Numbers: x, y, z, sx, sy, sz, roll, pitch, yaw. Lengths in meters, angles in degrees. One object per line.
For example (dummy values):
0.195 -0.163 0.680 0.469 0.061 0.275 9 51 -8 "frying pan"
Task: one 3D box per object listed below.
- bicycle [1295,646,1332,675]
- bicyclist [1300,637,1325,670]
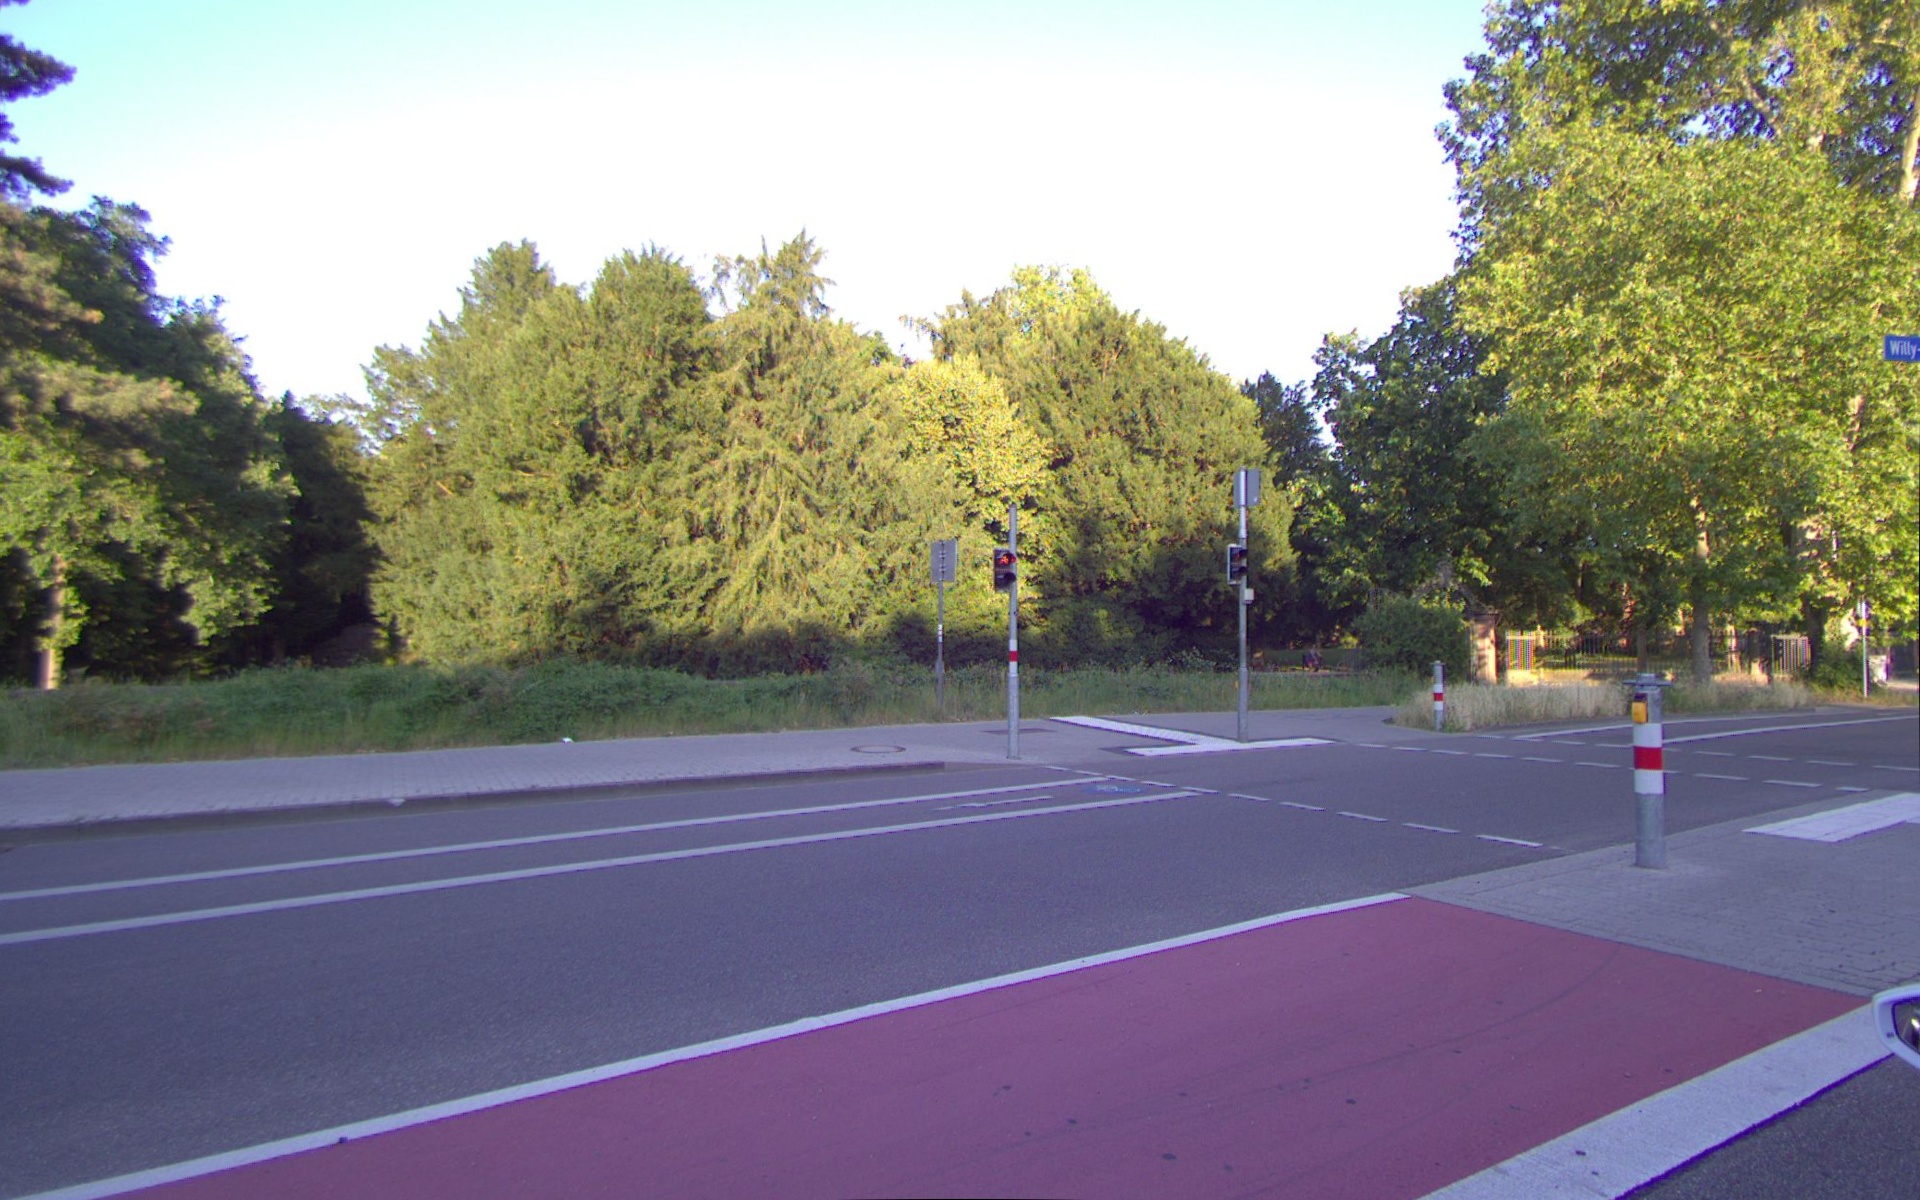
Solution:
15.861 2.711 45.123 0.777 1.273 1.978 1 -2 -6 "bicycle"
15.858 2.398 45.233 0.777 1.445 0.891 1 -2 -5 "bicyclist"
